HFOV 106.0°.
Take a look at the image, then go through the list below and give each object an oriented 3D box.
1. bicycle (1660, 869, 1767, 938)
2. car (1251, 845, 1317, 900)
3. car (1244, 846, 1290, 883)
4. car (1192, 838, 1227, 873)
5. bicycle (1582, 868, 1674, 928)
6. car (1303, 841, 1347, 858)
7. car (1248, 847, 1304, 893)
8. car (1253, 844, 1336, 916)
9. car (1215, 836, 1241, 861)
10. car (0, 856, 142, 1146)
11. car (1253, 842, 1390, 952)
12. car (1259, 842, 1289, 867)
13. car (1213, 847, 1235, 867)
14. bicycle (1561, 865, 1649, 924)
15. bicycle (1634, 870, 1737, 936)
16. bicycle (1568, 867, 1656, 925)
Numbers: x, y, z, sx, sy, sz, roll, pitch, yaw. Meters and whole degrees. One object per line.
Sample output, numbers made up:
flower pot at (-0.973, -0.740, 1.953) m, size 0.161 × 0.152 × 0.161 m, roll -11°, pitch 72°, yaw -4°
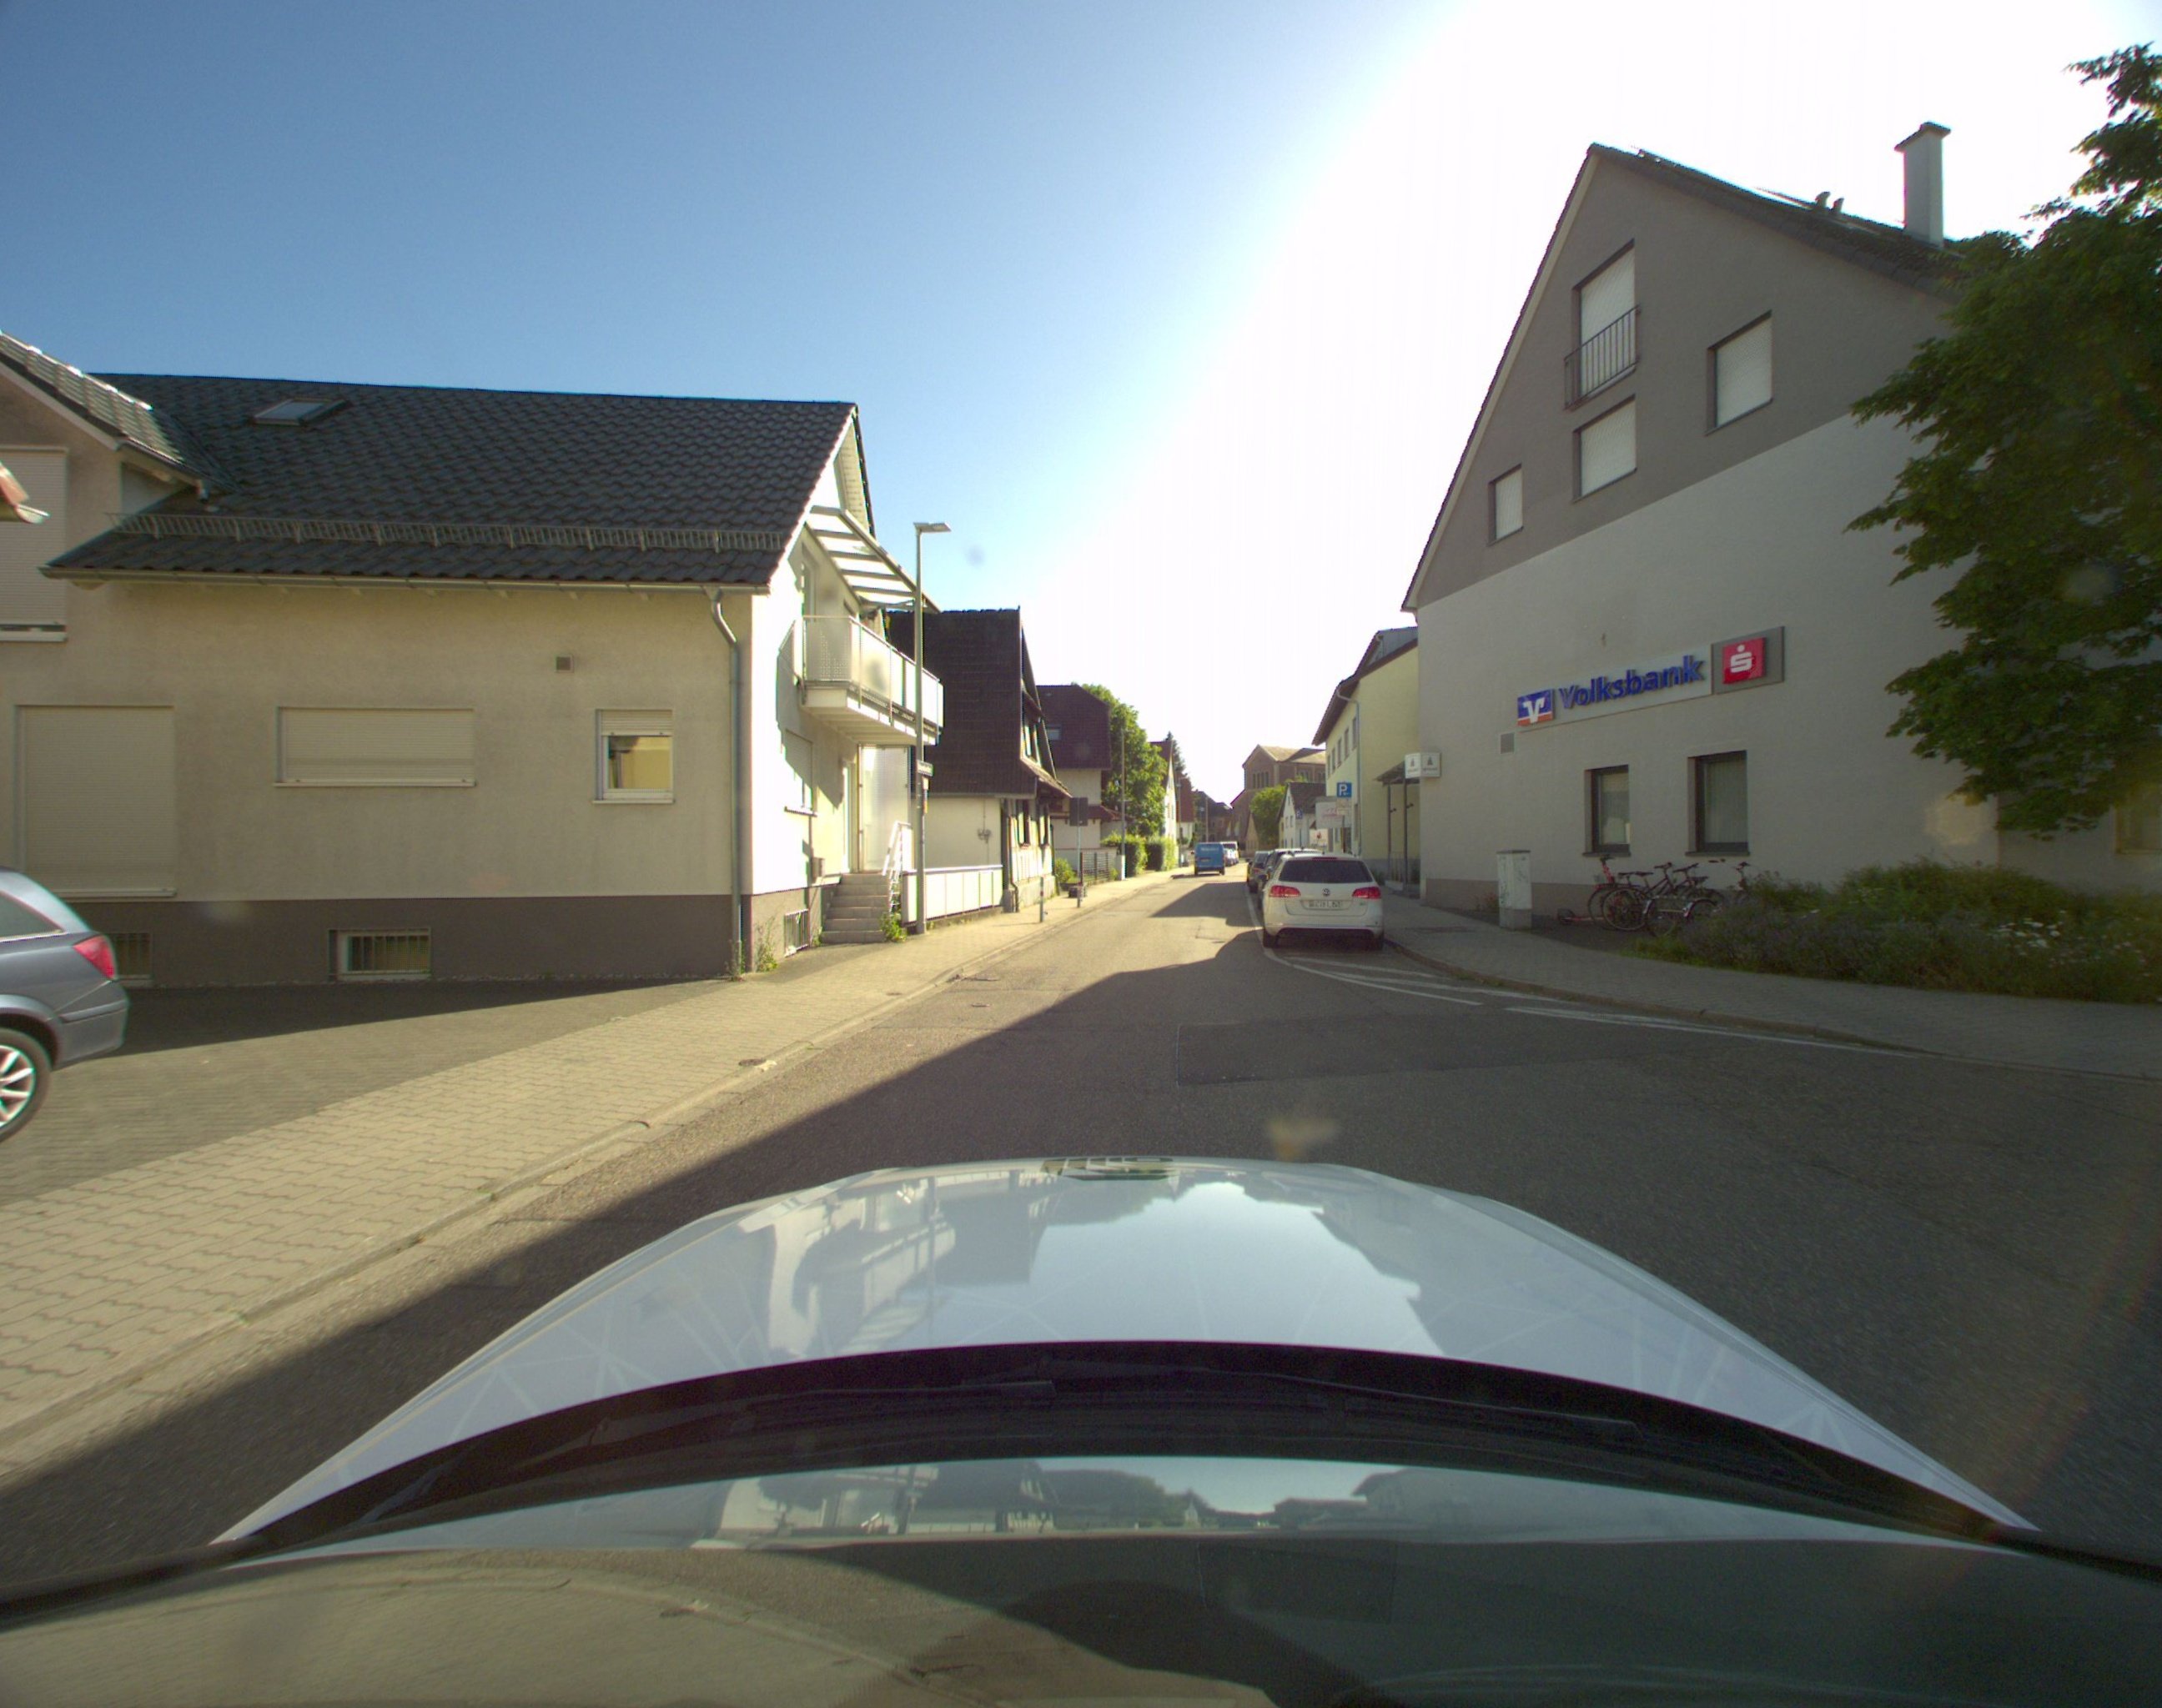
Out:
bicycle at (8.760, 0.678, 11.303) m, size 1.156 × 0.920 × 0.314 m, roll -1°, pitch 0°, yaw 8°
car at (5.985, 0.478, 24.330) m, size 1.714 × 1.475 × 3.887 m, roll 1°, pitch 1°, yaw 11°
car at (7.989, 0.421, 35.272) m, size 1.797 × 1.475 × 4.859 m, roll 1°, pitch 0°, yaw 11°
car at (7.781, 0.079, 49.071) m, size 1.891 × 1.917 × 5.084 m, roll -2°, pitch 0°, yaw 9°
bicycle at (8.665, 0.701, 12.927) m, size 1.153 × 0.920 × 0.315 m, roll -1°, pitch 0°, yaw 18°
car at (23.547, -0.426, 78.592) m, size 3.878 × 1.492 × 1.857 m, roll -2°, pitch 0°, yaw 21°
car at (6.910, 0.507, 29.192) m, size 1.796 × 1.475 × 4.459 m, roll 1°, pitch 1°, yaw 11°
car at (5.018, 0.532, 19.567) m, size 1.600 × 1.520 × 3.983 m, roll 1°, pitch 1°, yaw 10°
car at (15.026, -0.586, 83.025) m, size 2.182 × 2.390 × 6.086 m, roll -3°, pitch 0°, yaw 13°
car at (-6.118, 0.748, 2.568) m, size 1.686 × 1.445 × 4.169 m, roll 0°, pitch 0°, yaw -5°
car at (3.888, 0.574, 13.637) m, size 1.833 × 1.513 × 4.523 m, roll -1°, pitch 1°, yaw 13°
car at (12.391, 0.003, 52.124) m, size 1.798 × 1.475 × 4.677 m, roll 0°, pitch 1°, yaw 14°
car at (12.521, 0.245, 71.176) m, size 1.703 × 1.598 × 3.939 m, roll -2°, pitch 0°, yaw 13°
bicycle at (8.932, 0.681, 13.919) m, size 1.211 × 0.975 × 0.322 m, roll -1°, pitch 0°, yaw 24°
bicycle at (8.644, 0.699, 11.664) m, size 1.156 × 0.920 × 0.314 m, roll -1°, pitch 0°, yaw 8°
bicycle at (8.690, 0.681, 13.351) m, size 1.153 × 0.920 × 0.315 m, roll -1°, pitch 0°, yaw 18°
